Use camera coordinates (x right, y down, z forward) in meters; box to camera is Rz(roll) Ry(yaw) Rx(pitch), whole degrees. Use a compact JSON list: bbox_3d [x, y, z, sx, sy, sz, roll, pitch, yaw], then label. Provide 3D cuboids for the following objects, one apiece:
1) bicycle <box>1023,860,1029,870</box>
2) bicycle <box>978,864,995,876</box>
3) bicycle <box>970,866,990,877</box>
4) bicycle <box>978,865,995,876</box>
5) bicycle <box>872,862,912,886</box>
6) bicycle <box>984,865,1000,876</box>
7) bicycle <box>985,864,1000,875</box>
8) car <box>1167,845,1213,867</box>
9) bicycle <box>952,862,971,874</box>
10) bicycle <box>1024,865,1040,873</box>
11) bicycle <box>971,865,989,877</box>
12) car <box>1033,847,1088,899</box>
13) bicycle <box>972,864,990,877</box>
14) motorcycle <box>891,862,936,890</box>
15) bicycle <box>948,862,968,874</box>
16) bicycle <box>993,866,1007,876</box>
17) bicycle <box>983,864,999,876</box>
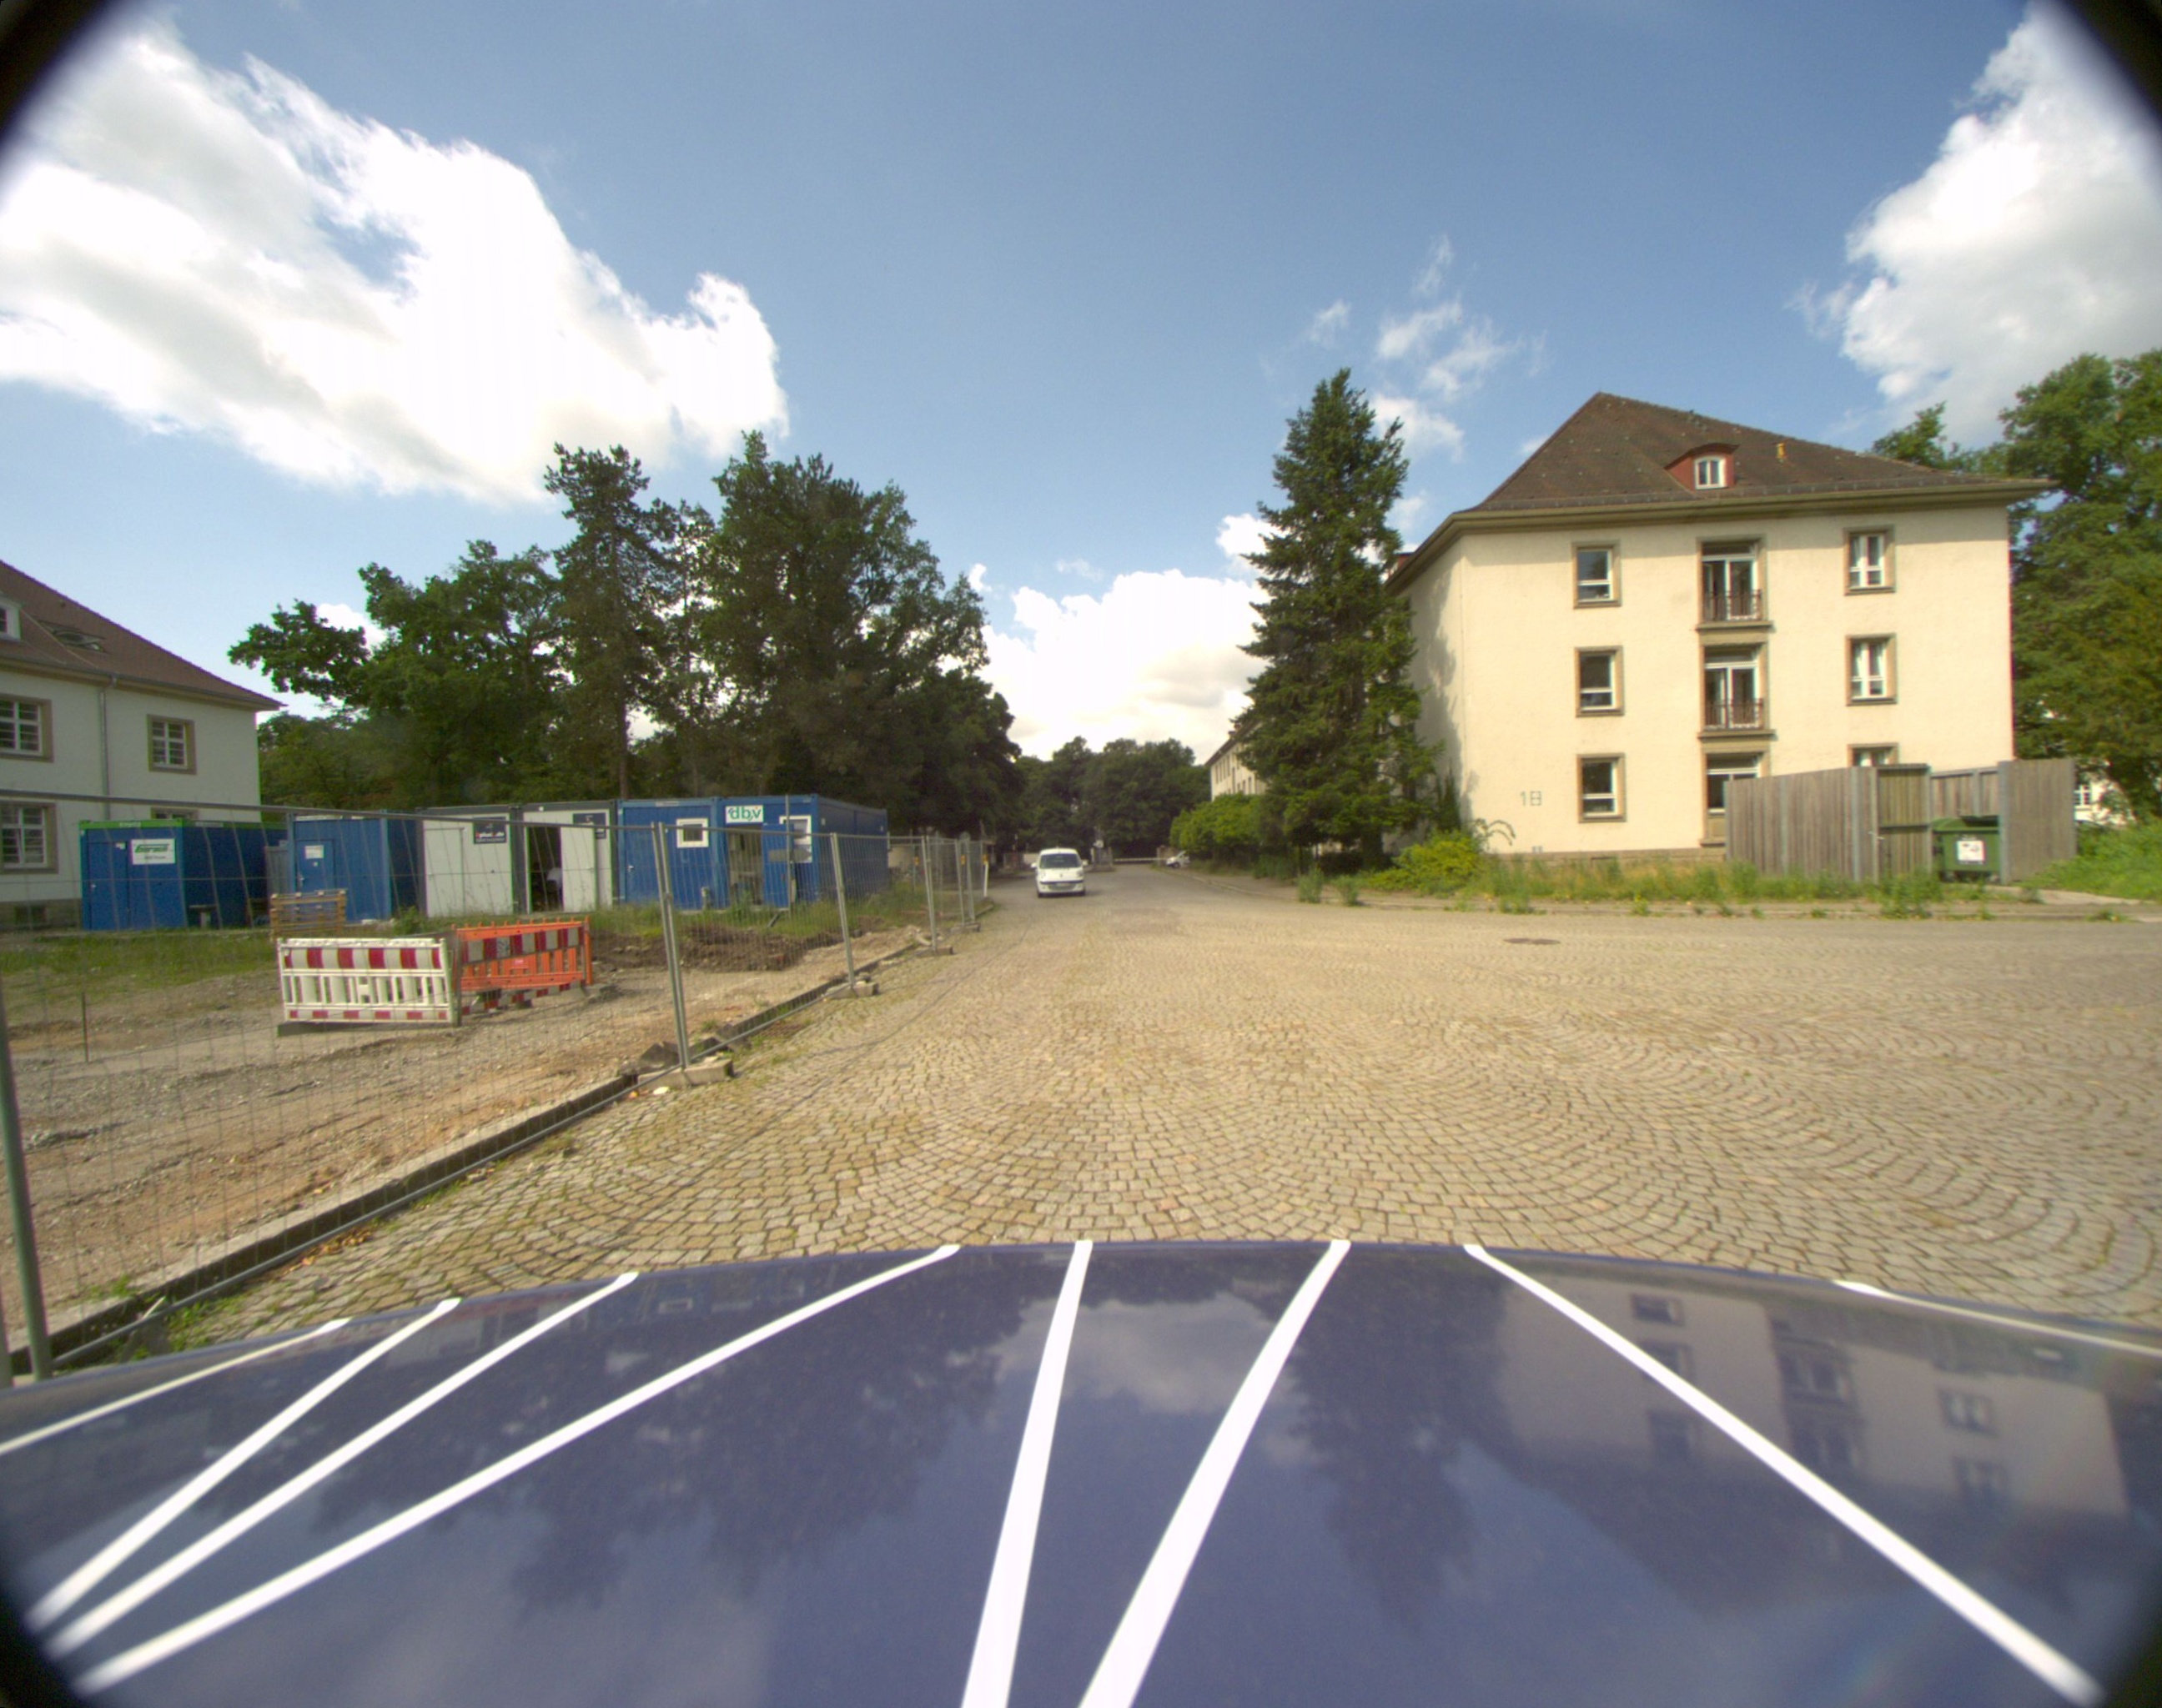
[{"bbox_3d":[-6.210,1.271,85.980,0.474,1.051,1.733,-2,0,2],"label":"bicycle"},{"bbox_3d":[-9.449,1.581,75.935,1.635,1.183,0.498,0,0,-11],"label":"bicycle"},{"bbox_3d":[-9.655,1.660,72.359,1.749,0.970,0.757,0,0,-28],"label":"bicycle"},{"bbox_3d":[-9.524,1.678,76.504,1.635,1.044,0.334,0,0,-13],"label":"bicycle"},{"bbox_3d":[-9.729,1.022,39.116,1.900,1.190,0.657,-1,0,21],"label":"bicycle"},{"bbox_3d":[-9.260,1.670,79.333,1.617,1.134,0.356,0,0,-6],"label":"bicycle"},{"bbox_3d":[-9.183,1.655,78.862,1.617,1.134,0.325,0,0,-6],"label":"bicycle"},{"bbox_3d":[11.034,0.185,77.186,4.312,1.795,1.820,-5,1,0],"label":"car"},{"bbox_3d":[-11.453,1.328,72.878,1.745,1.158,0.608,0,0,-2],"label":"bicycle"},{"bbox_3d":[-5.704,1.738,88.803,1.867,0.934,0.503,-1,0,-2],"label":"bicycle"},{"bbox_3d":[-9.500,1.567,71.538,1.682,1.102,0.338,0,0,-12],"label":"bicycle"},{"bbox_3d":[-0.756,0.686,29.195,1.867,1.749,4.149,-4,0,-1],"label":"car"},{"bbox_3d":[-9.659,1.577,73.516,1.635,1.183,0.473,0,0,-12],"label":"bicycle"},{"bbox_3d":[-9.126,1.192,41.532,2.283,1.476,0.757,-1,0,-3],"label":"motorcycle"},{"bbox_3d":[-11.622,1.339,71.855,1.745,1.158,0.608,0,0,-2],"label":"bicycle"},{"bbox_3d":[-8.611,1.842,80.989,1.407,1.040,0.338,-2,0,-25],"label":"bicycle"},{"bbox_3d":[-9.240,1.652,78.366,1.617,1.134,0.325,0,0,-6],"label":"bicycle"}]
